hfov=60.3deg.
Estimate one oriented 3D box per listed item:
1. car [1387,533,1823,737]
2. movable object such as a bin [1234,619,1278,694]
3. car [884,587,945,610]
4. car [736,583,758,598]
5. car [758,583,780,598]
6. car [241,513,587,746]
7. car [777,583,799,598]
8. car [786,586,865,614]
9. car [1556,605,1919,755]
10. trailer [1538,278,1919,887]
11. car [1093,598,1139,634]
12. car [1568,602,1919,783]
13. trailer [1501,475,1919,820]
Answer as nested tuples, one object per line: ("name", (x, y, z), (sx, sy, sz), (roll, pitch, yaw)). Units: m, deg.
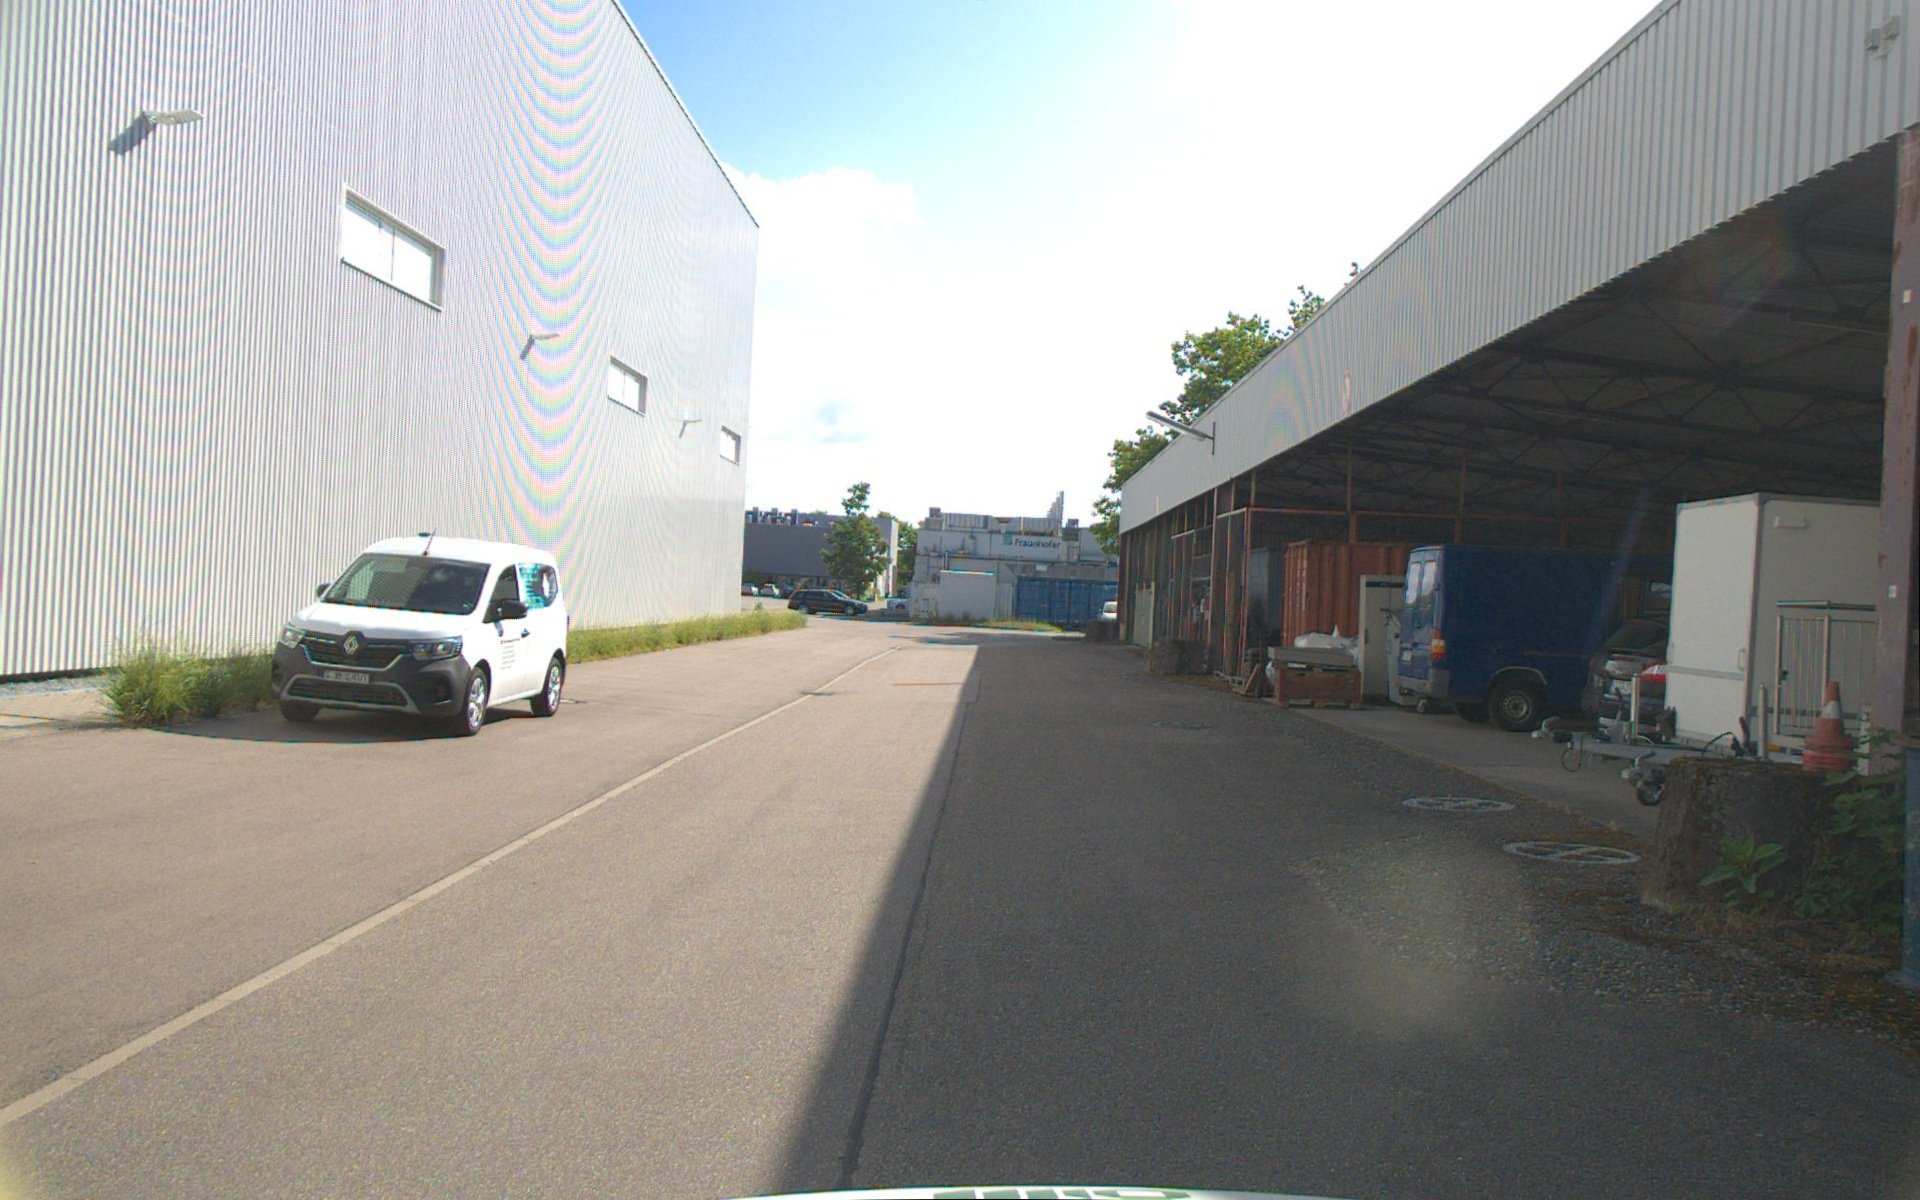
("car", (8.304, 0.432, 21.648), (4.876, 2.366, 2.000), (2, 0, 1))
("movable object such as a bin", (4.888, 0.916, 27.368), (0.569, 1.185, 1.239), (2, 0, 5))
("car", (-3.457, -0.141, 126.352), (4.432, 1.534, 1.909), (2, 0, 2))
("car", (-25.192, -1.103, 195.812), (1.952, 1.766, 4.000), (1, 0, 0))
("car", (-22.654, -1.092, 196.126), (2.148, 1.766, 4.000), (1, 0, 0))
("car", (-5.239, 0.253, 16.573), (1.852, 1.877, 4.359), (5, 0, 0))
("car", (-20.178, -1.091, 194.386), (2.148, 1.766, 4.000), (1, 0, 0))
("car", (-8.002, -0.008, 98.802), (4.432, 1.534, 1.909), (2, 0, 3))
("car", (9.028, 0.878, 18.675), (3.908, 1.498, 1.787), (2, 0, -4))
("trailer", (9.064, 0.036, 10.359), (9.831, 3.272, 2.854), (2, 0, 1))
("car", (8.067, 0.807, 85.852), (1.953, 1.613, 4.173), (2, 2, 0))
("car", (8.179, 0.849, 15.555), (4.241, 1.522, 1.777), (2, 0, -2))
("trailer", (6.889, 0.371, 12.927), (4.711, 2.433, 1.828), (2, 0, 6))
